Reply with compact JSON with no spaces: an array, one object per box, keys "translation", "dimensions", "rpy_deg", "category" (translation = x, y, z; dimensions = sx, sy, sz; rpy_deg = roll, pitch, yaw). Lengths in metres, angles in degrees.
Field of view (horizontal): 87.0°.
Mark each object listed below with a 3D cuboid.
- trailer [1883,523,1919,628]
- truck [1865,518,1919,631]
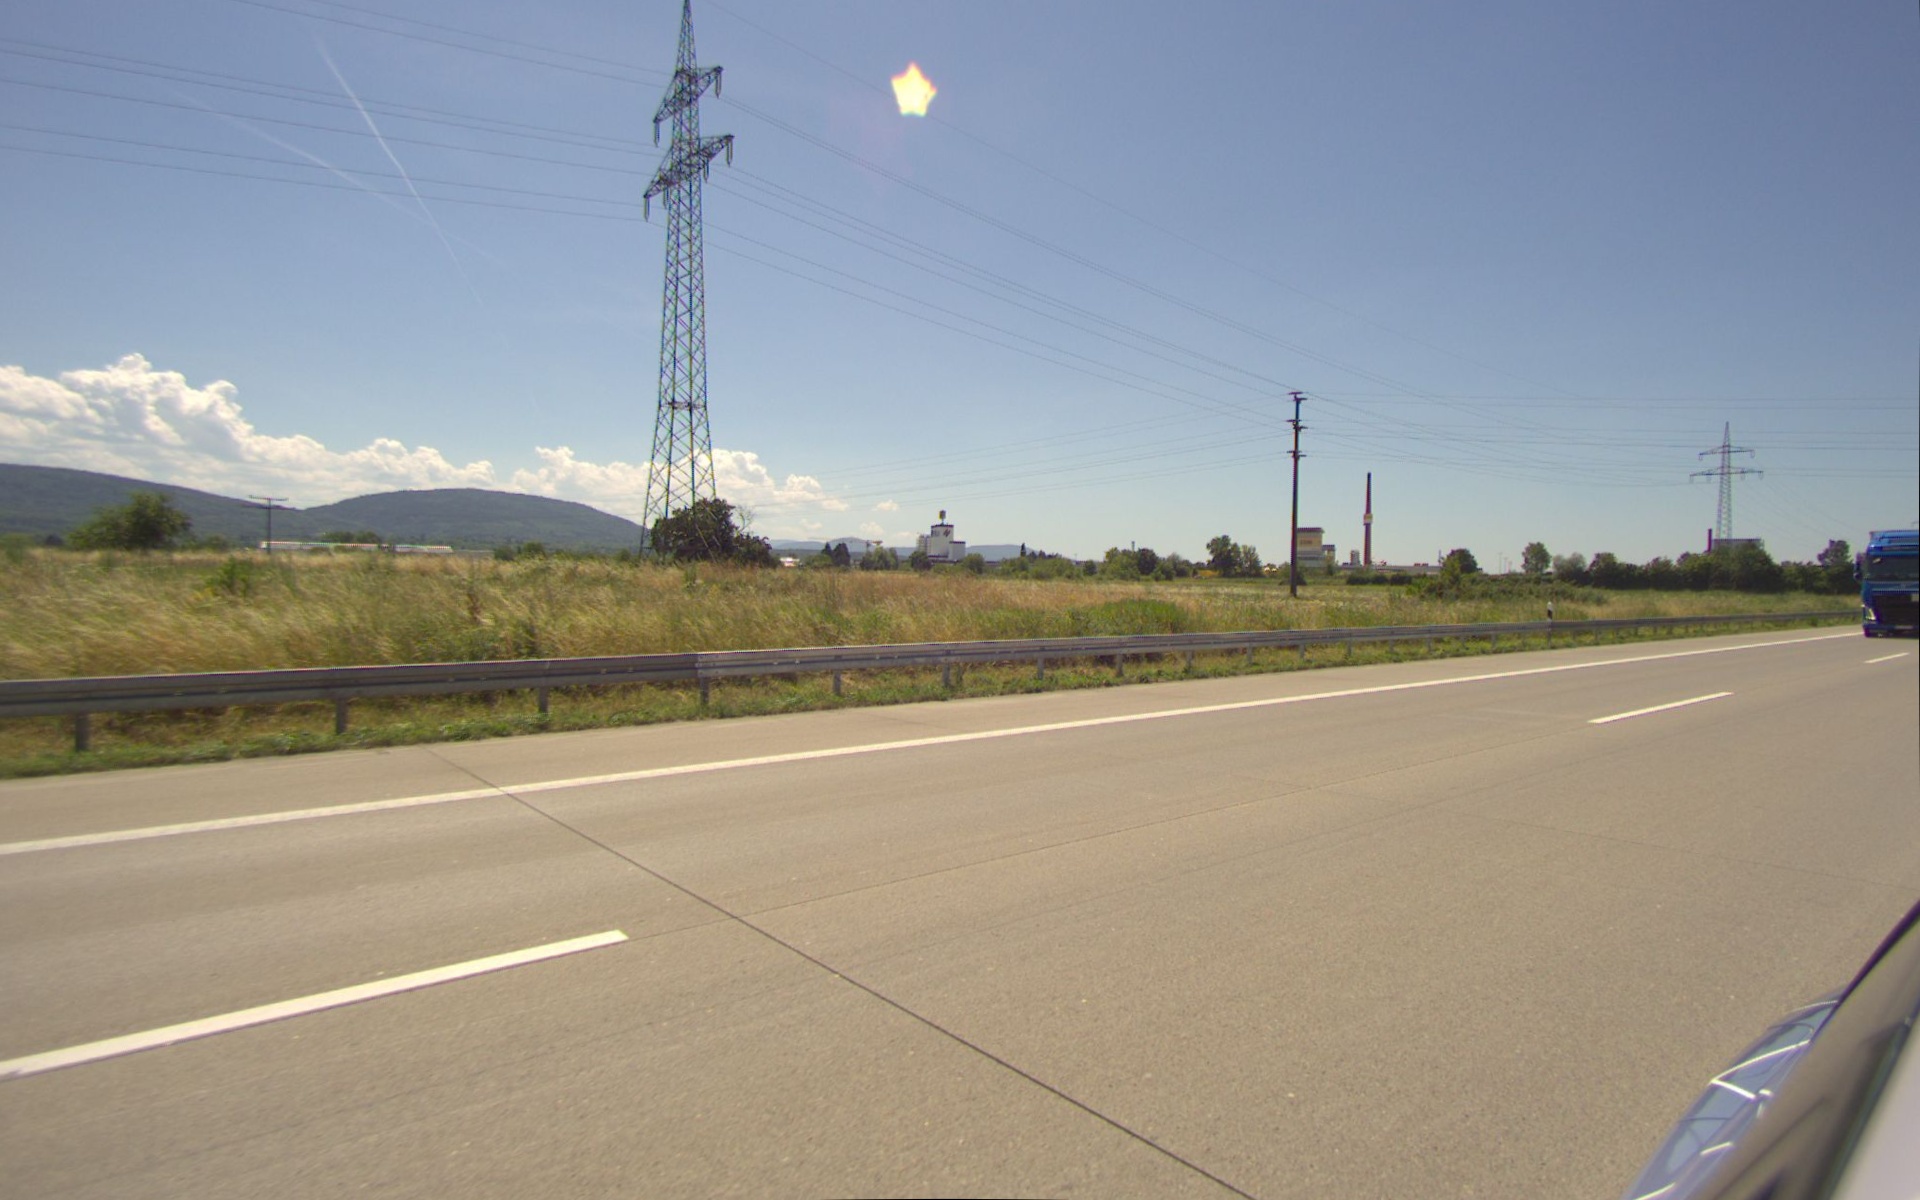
[{"translation":[42.492,-0.989,43.243],"dimensions":[12.671,4.095,2.714],"rpy_deg":[0,0,-40],"category":"trailer"},{"translation":[36.834,-0.947,38.527],"dimensions":[5.368,4.095,2.756],"rpy_deg":[0,0,-39],"category":"truck"}]
